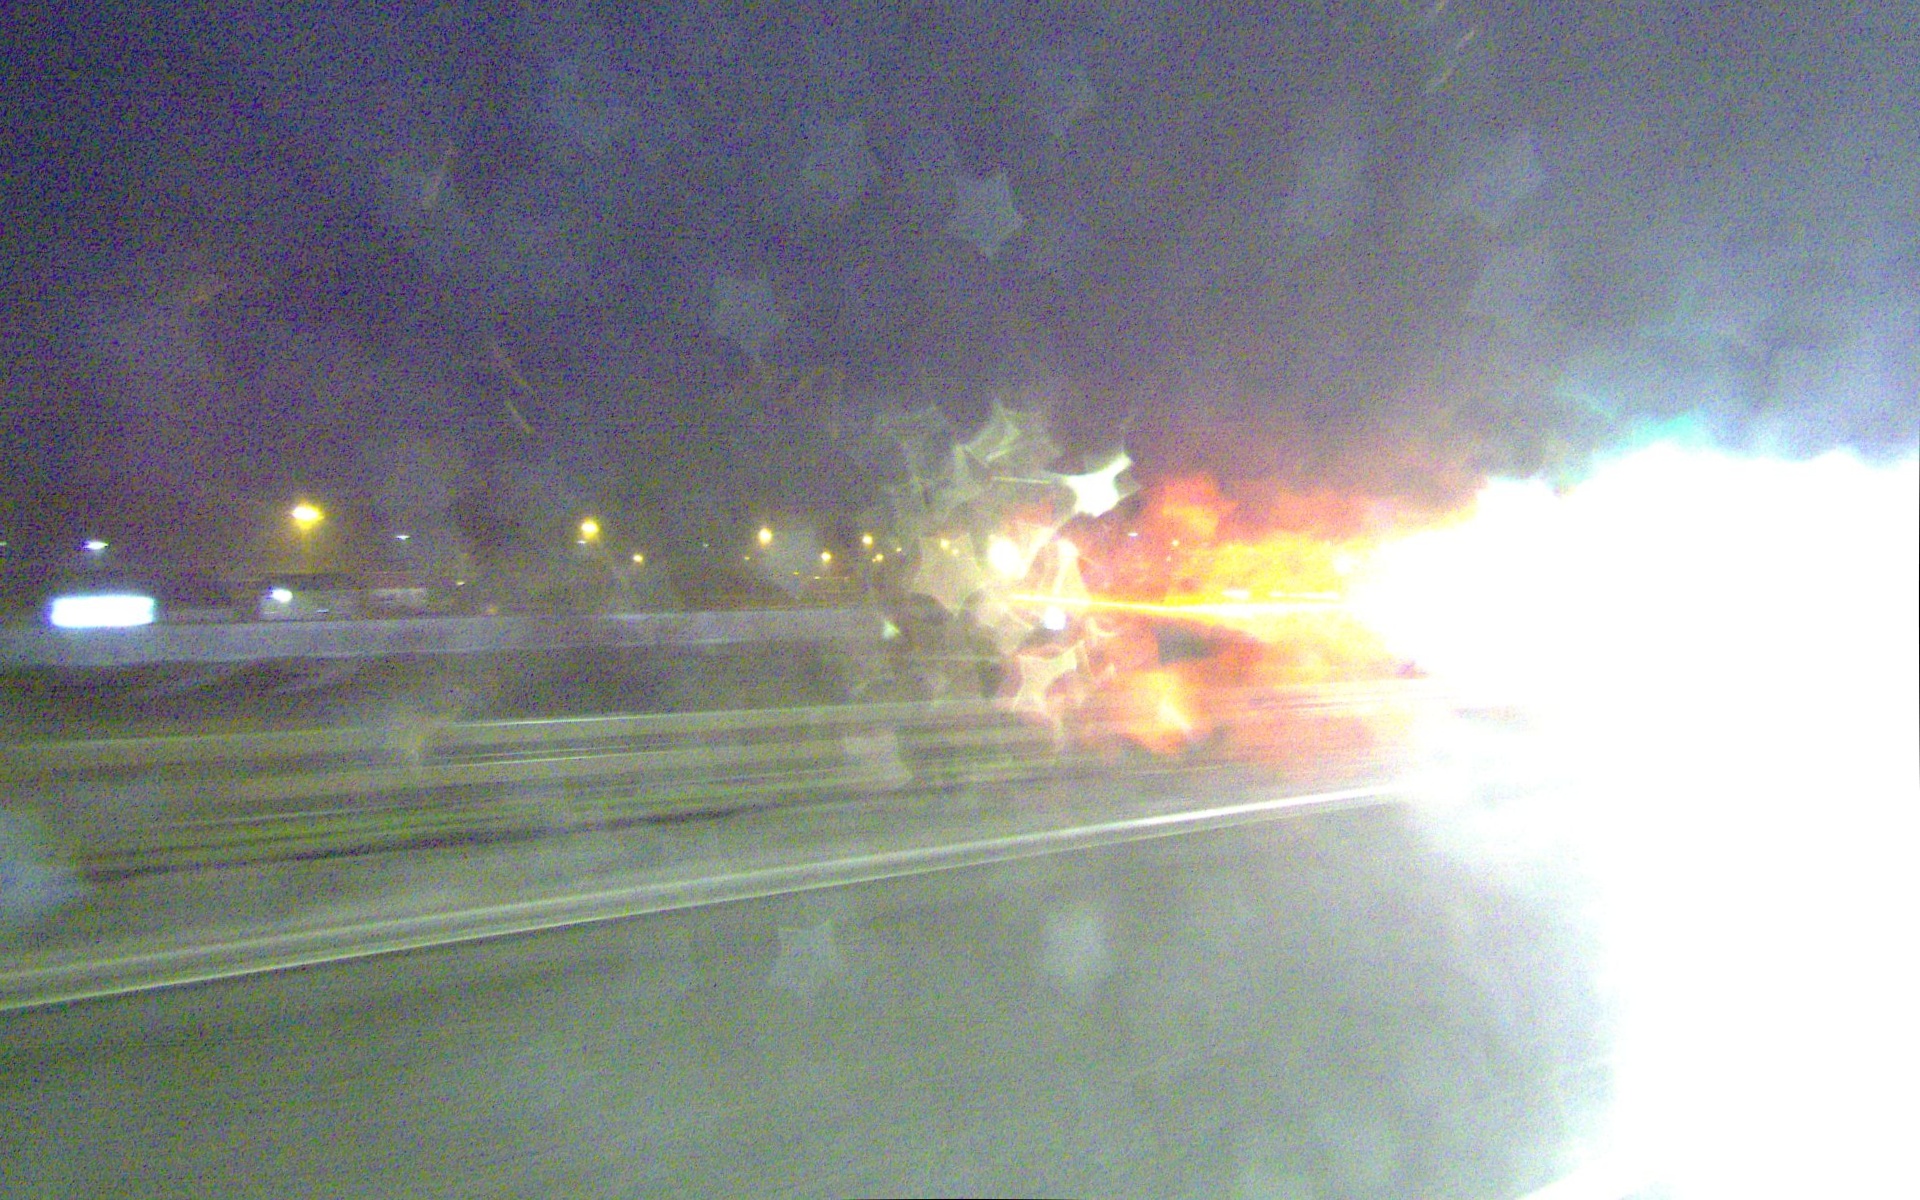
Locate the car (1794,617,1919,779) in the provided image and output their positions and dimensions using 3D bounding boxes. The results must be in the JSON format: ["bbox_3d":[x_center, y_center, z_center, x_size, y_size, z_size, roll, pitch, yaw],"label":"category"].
[{"bbox_3d":[10.345,0.920,10.145,3.992,1.422,1.813,1,1,-33],"label":"car"}]
